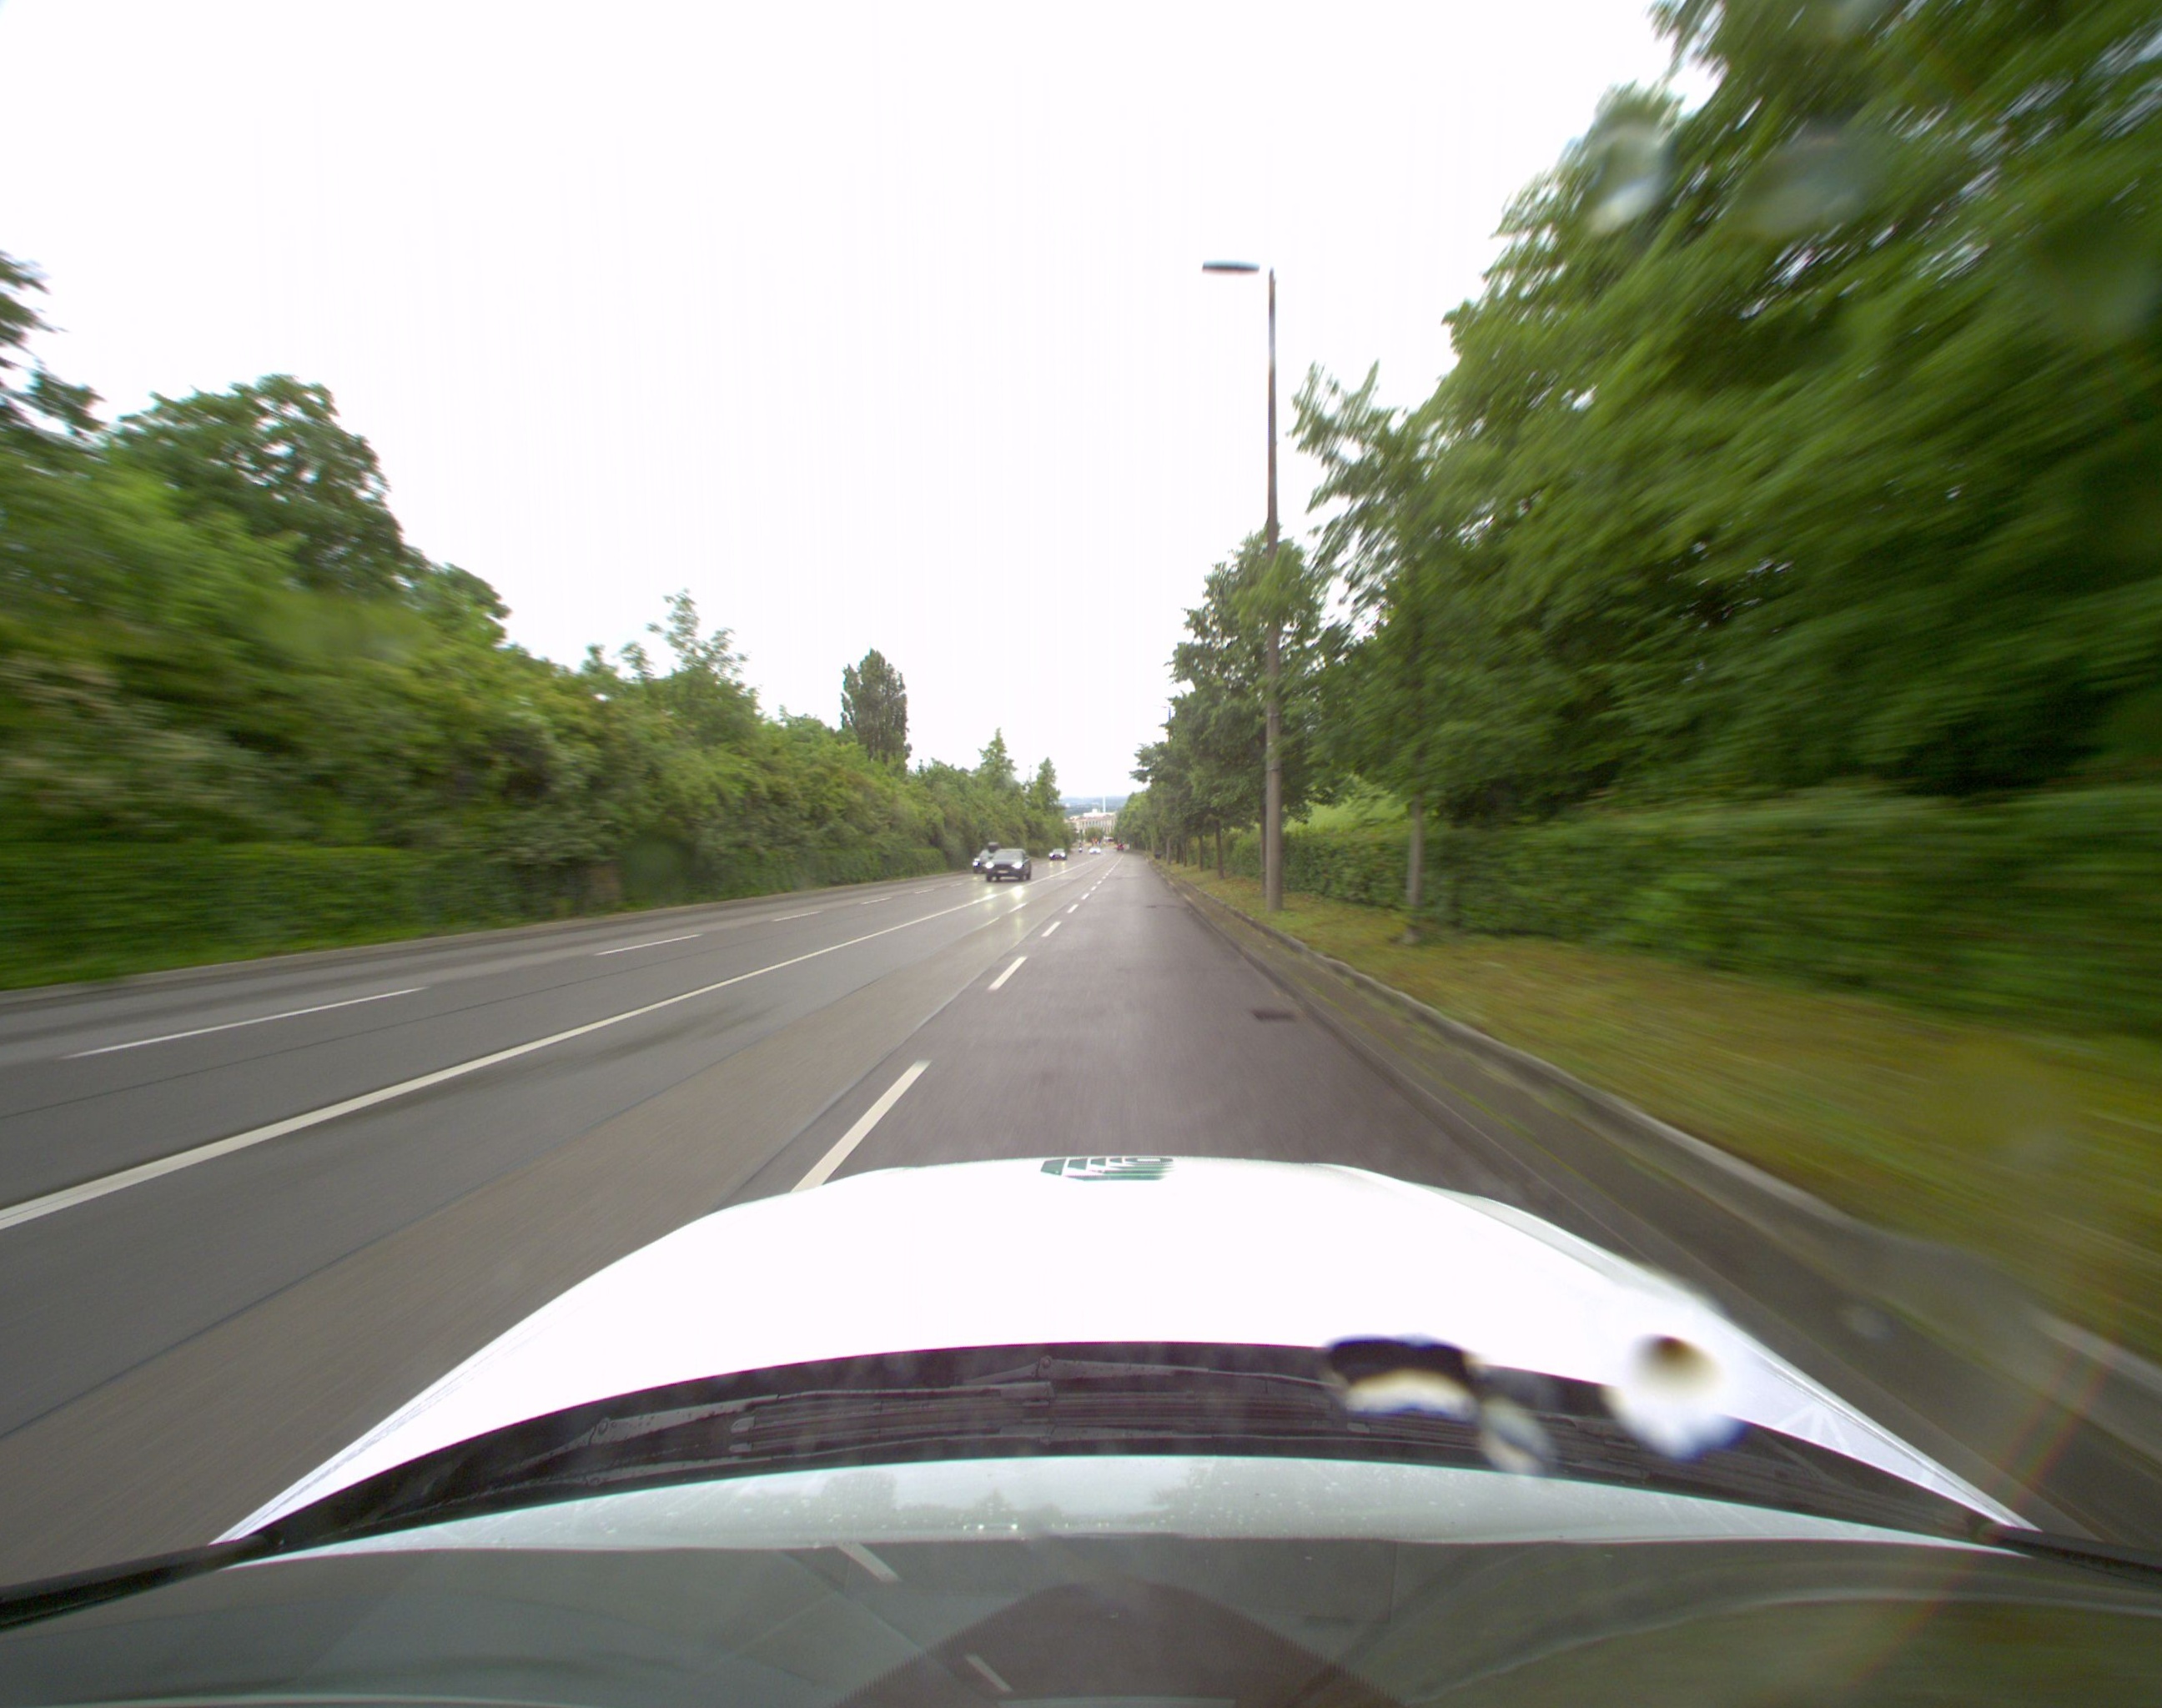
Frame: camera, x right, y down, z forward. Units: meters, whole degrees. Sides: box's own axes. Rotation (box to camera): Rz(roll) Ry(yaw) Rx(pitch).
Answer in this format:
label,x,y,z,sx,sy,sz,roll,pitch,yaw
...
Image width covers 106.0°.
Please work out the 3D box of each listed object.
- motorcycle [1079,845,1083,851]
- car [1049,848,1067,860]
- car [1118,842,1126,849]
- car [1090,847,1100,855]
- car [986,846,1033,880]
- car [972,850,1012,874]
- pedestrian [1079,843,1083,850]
label,x,y,z,sx,sy,sz,roll,pitch,yaw
motorcycle,-0.049,-1.287,175.757,0.801,1.131,2.233,-1,1,4
car,-2.759,-0.007,100.184,1.752,1.381,4.843,0,1,3
car,10.596,-2.124,210.329,1.841,1.702,3.796,0,-1,3
car,2.639,-0.516,153.044,1.707,1.505,4.521,0,1,4
car,-3.721,0.445,42.888,1.804,1.657,4.599,0,0,3
car,-5.994,0.507,55.443,1.890,1.552,4.635,0,0,4
pedestrian,-0.051,-1.647,175.774,0.802,1.541,1.112,-1,0,3
